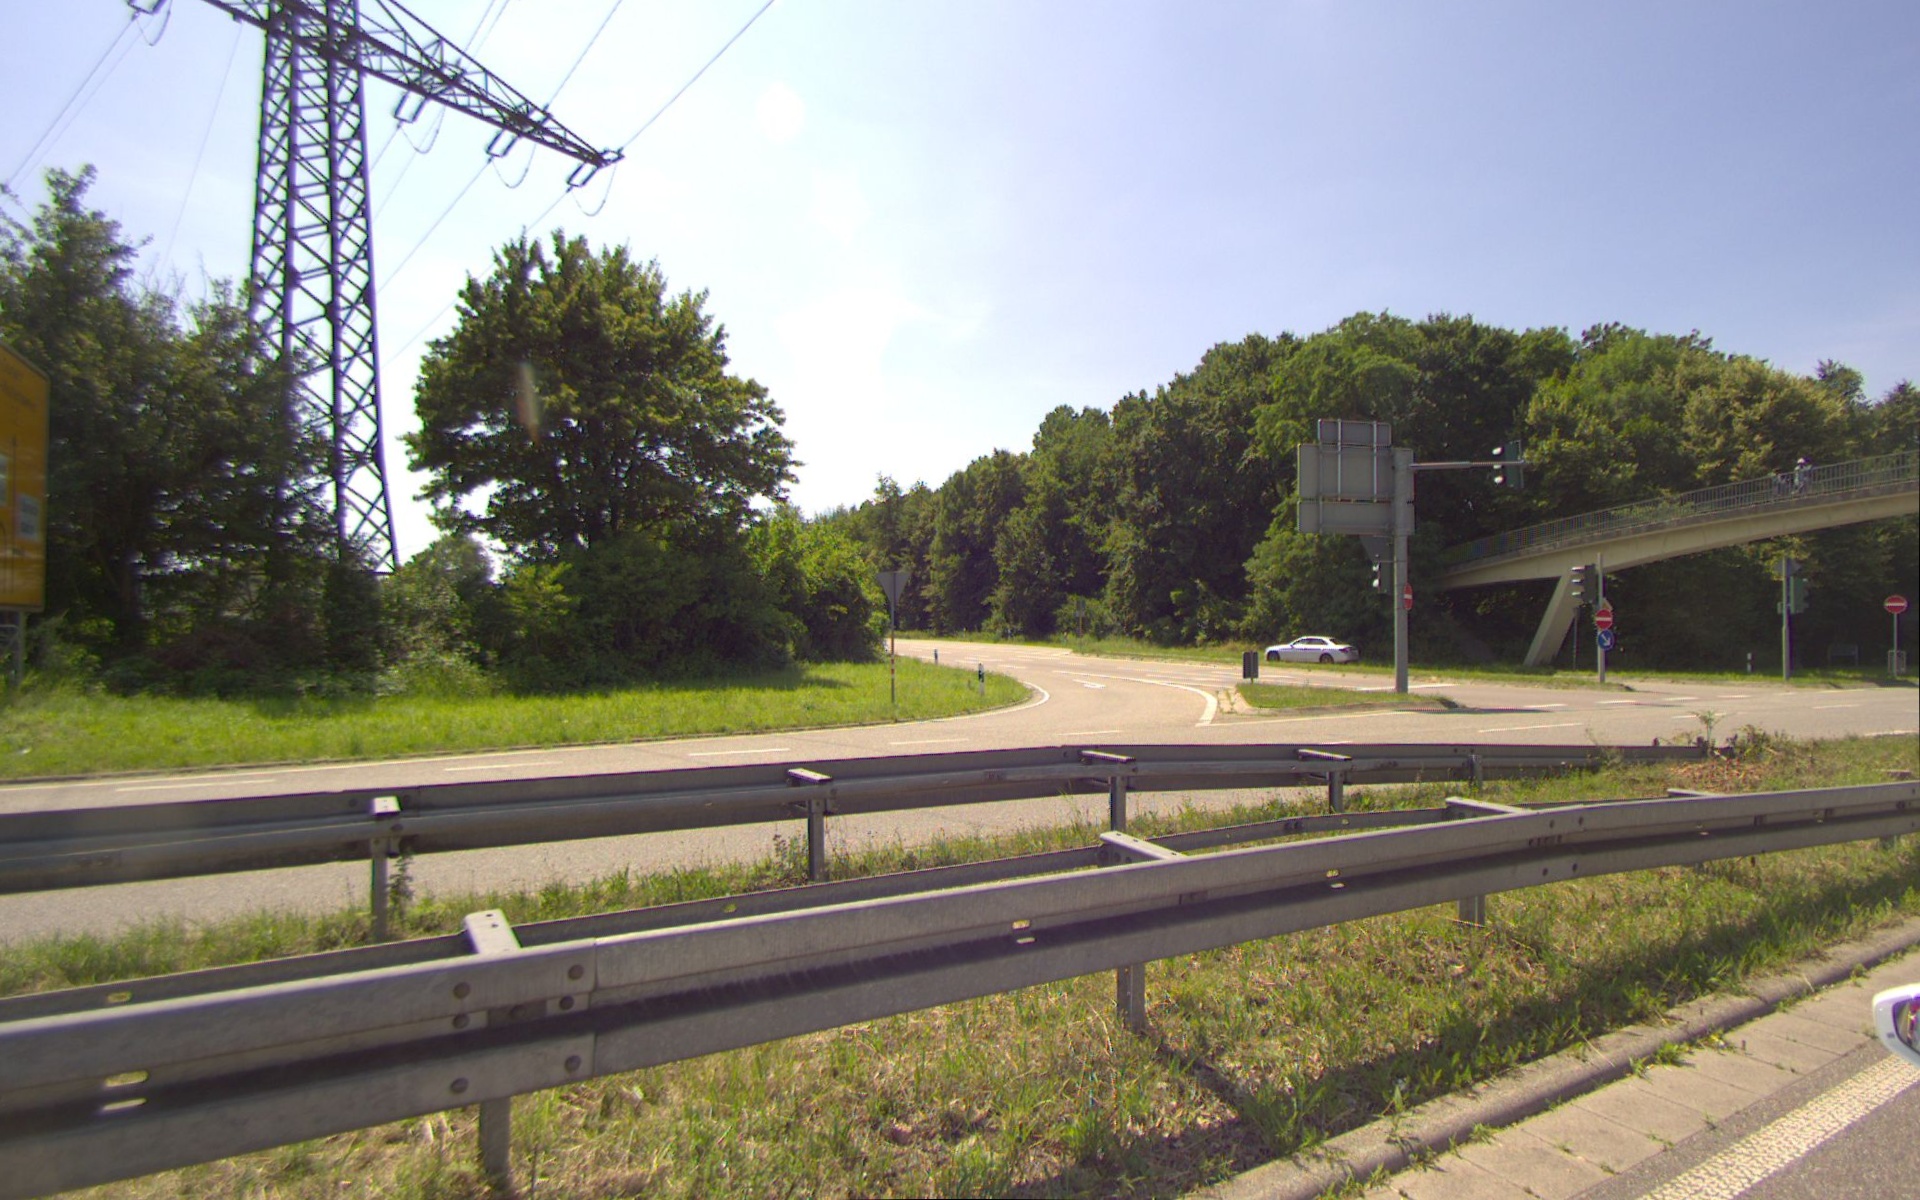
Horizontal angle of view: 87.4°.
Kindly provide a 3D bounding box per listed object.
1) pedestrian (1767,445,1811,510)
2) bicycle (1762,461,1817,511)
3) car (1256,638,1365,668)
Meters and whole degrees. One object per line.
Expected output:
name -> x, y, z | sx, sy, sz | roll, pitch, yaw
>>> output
pedestrian -> 29.780, -4.380, 36.101 | 0.916, 2.167, 0.783 | 2, -3, -14
bicycle -> 29.586, -4.045, 35.841 | 0.462, 1.493, 1.528 | 2, -3, -14
car -> 17.308, 2.582, 49.725 | 4.717, 1.391, 1.988 | -2, -2, 45
